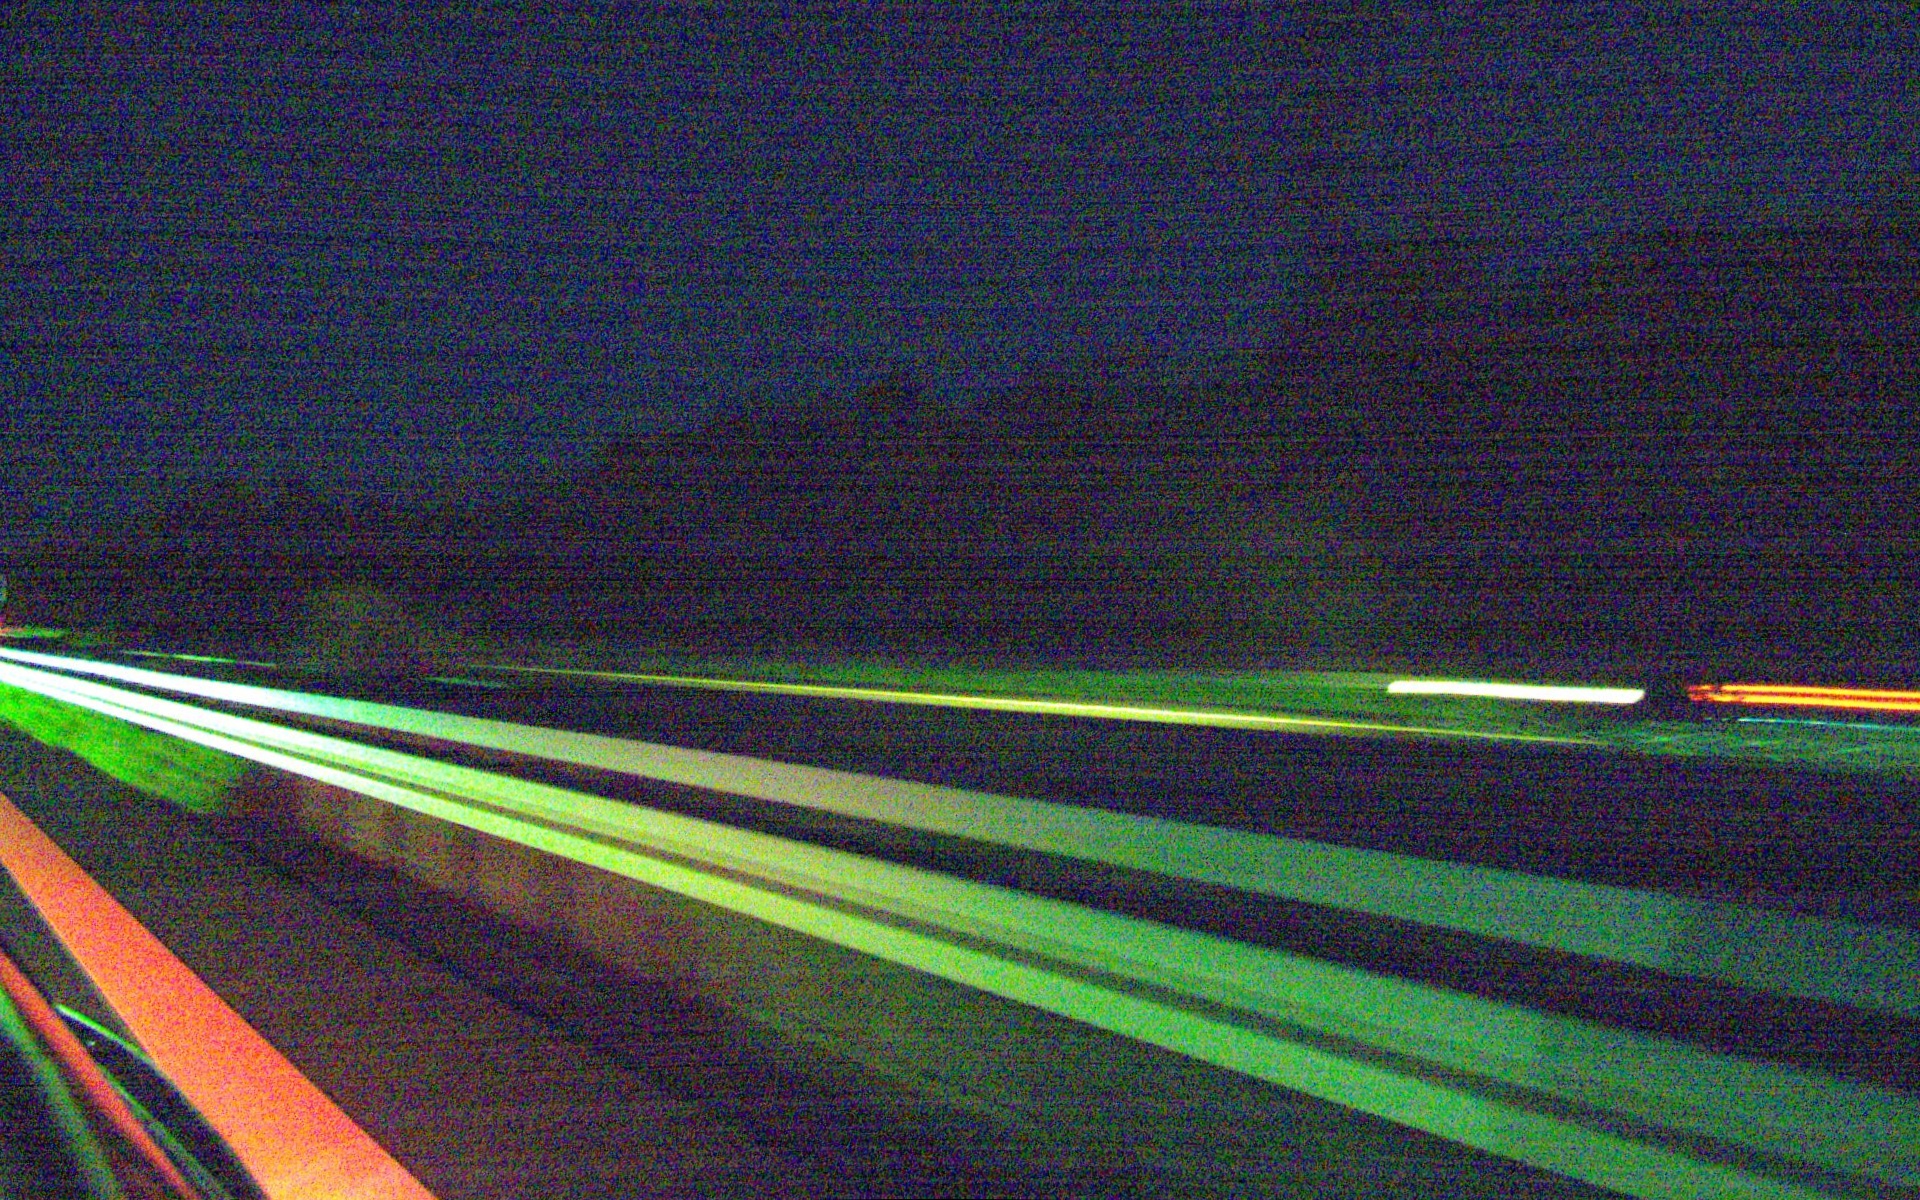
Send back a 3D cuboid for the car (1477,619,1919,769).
[{"bbox_3d":[9.341,1.069,12.442,5.002,1.563,1.973,-1,-5,41],"label":"car"}]
